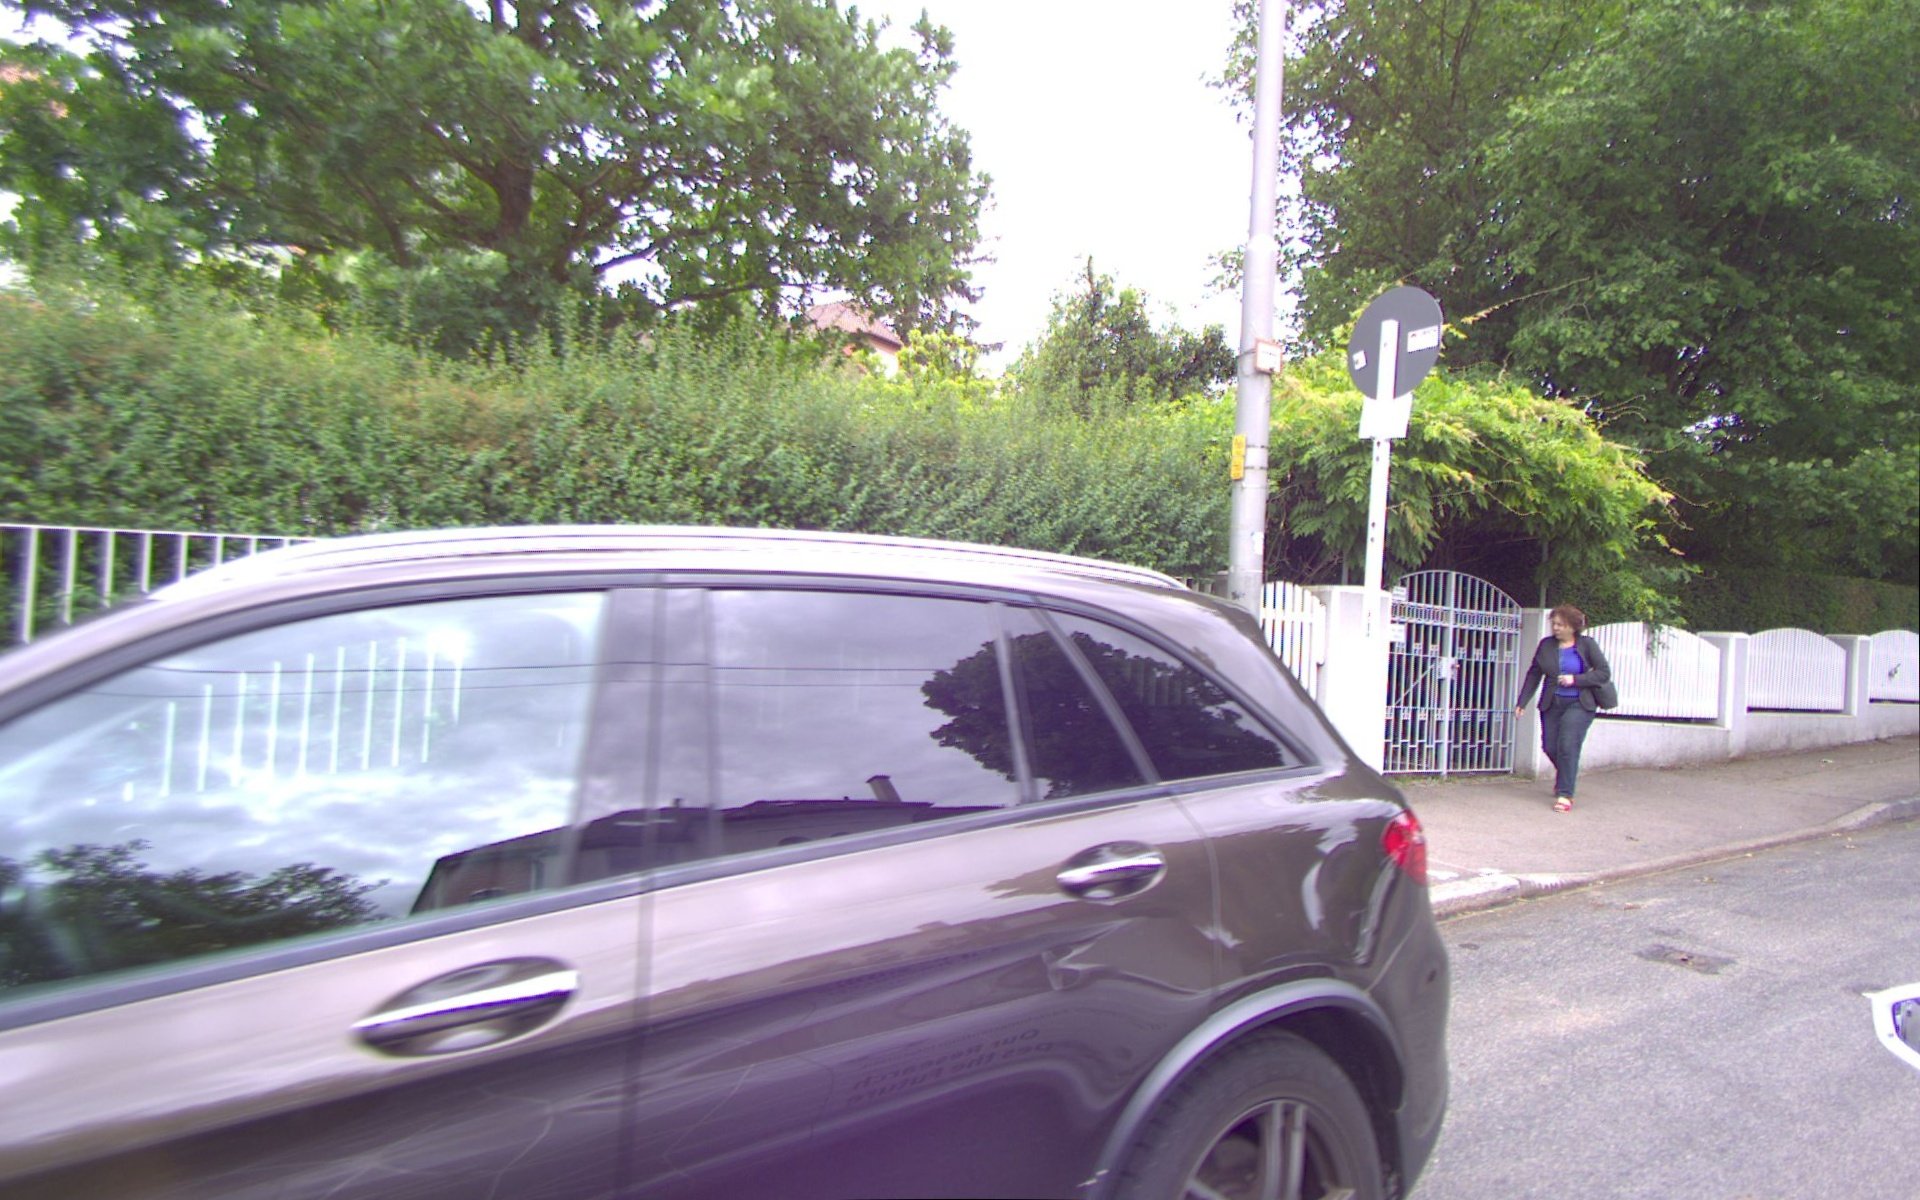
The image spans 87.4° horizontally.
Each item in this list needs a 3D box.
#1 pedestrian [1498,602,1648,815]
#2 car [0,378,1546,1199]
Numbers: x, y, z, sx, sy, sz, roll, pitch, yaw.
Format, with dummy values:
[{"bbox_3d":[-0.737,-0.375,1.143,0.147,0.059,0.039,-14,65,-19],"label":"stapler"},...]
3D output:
[{"bbox_3d":[4.905,0.836,8.050,0.788,1.567,0.605,1,4,-31],"label":"pedestrian"},{"bbox_3d":[-0.982,0.660,1.796,4.296,1.644,1.781,1,-2,-33],"label":"car"}]
